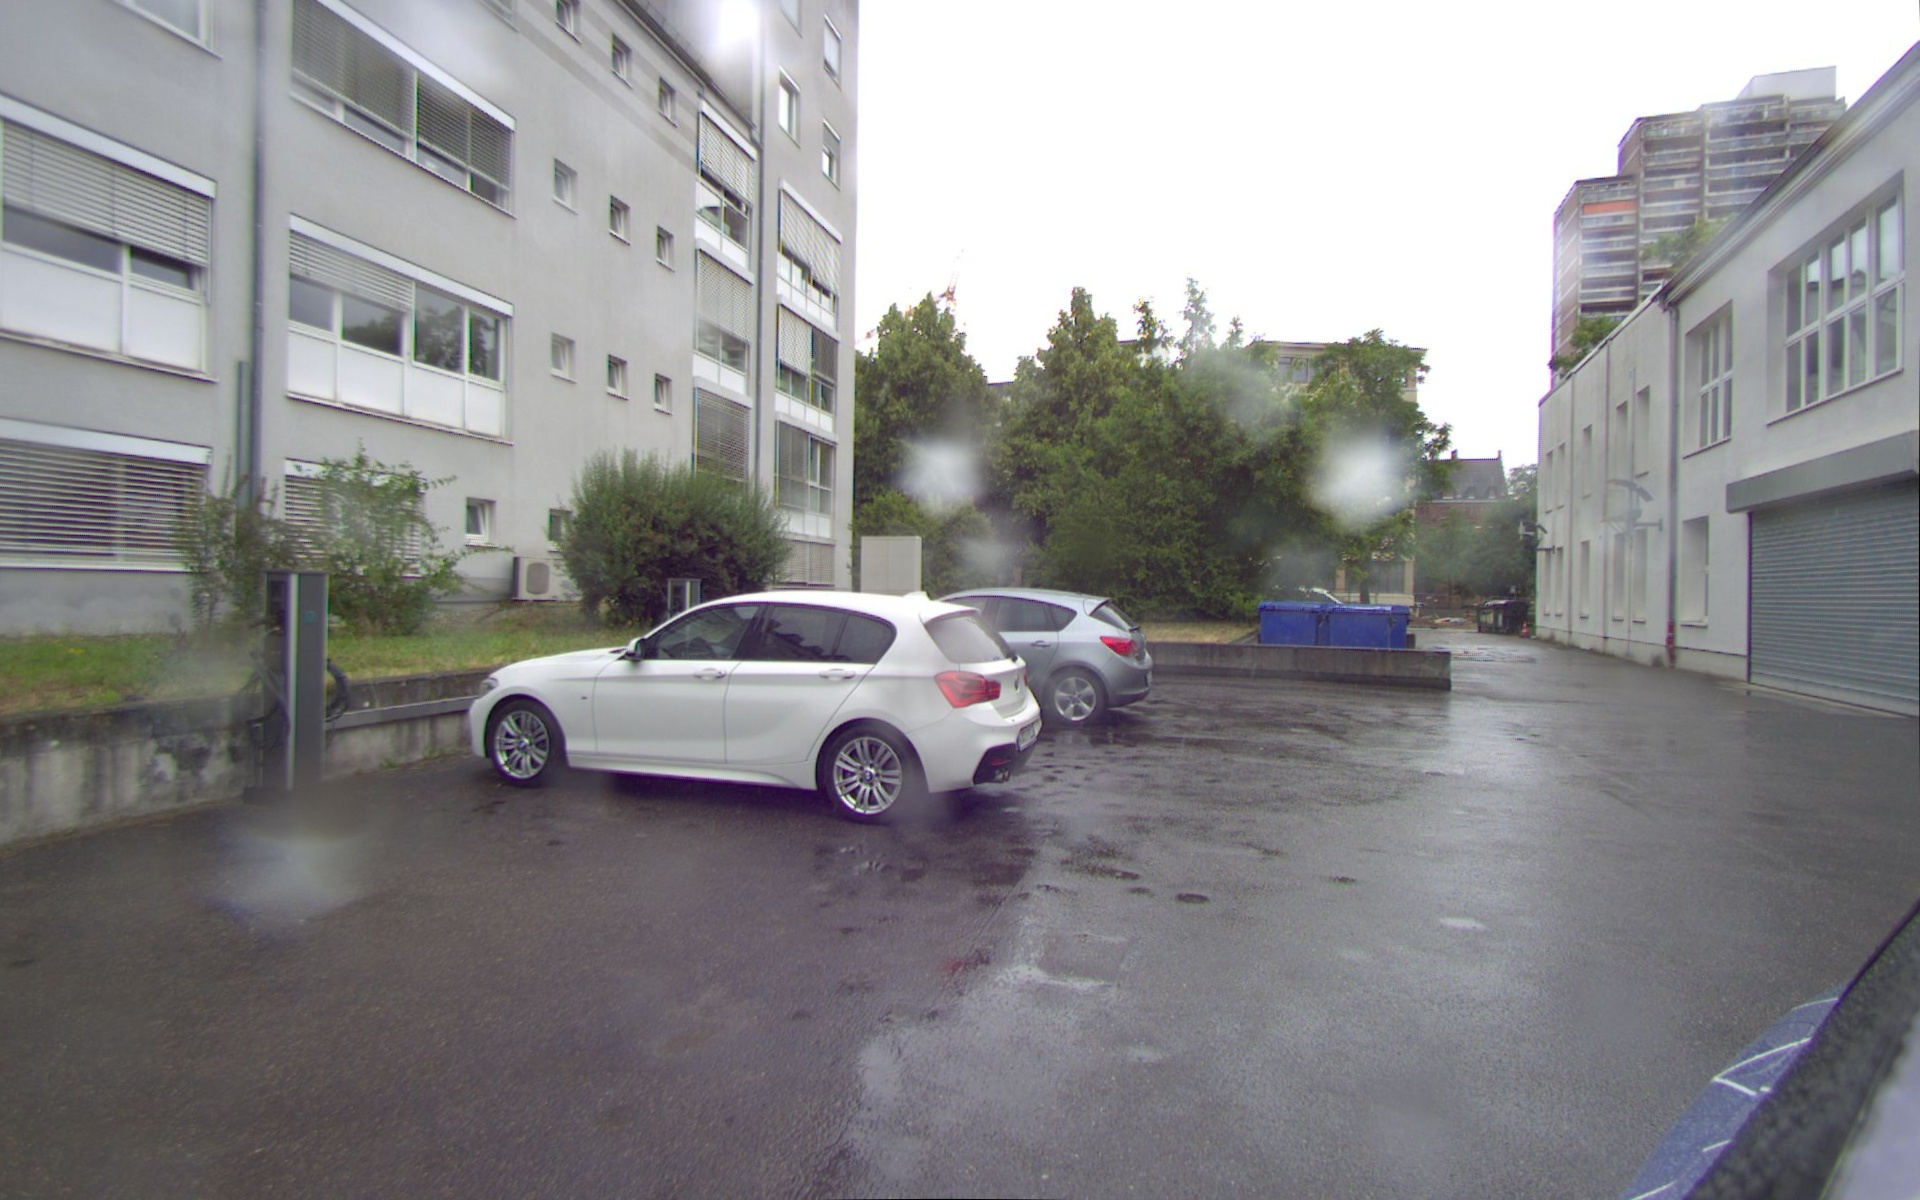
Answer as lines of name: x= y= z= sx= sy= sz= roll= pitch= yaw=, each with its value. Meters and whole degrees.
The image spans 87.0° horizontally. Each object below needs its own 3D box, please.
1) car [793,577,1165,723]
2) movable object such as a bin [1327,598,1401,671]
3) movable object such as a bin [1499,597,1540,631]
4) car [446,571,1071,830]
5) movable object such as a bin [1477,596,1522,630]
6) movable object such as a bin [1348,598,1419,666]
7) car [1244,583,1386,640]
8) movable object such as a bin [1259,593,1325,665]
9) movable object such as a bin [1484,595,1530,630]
car: x=0.288 y=0.525 z=12.359 sx=4.164 sy=1.508 sz=1.989 roll=1 pitch=0 yaw=18
movable object such as a bin: x=7.986 y=0.676 z=20.110 sx=1.297 sy=1.375 sz=1.892 roll=0 pitch=-2 yaw=20
movable object such as a bin: x=23.150 y=0.585 z=41.906 sx=1.171 sy=1.392 sz=1.307 roll=0 pitch=-2 yaw=16
car: x=-1.411 y=0.583 z=7.594 sx=4.164 sy=1.508 sz=1.989 roll=1 pitch=0 yaw=18
movable object such as a bin: x=23.838 y=0.568 z=44.728 sx=1.471 sy=1.467 sz=1.307 roll=0 pitch=-2 yaw=16
movable object such as a bin: x=9.061 y=0.687 z=21.732 sx=1.297 sy=1.375 sz=1.892 roll=0 pitch=-2 yaw=20
car: x=12.659 y=0.429 z=36.151 sx=4.644 sy=1.906 sz=2.106 roll=0 pitch=-3 yaw=23
movable object such as a bin: x=6.769 y=0.589 z=20.583 sx=1.218 sy=1.375 sz=1.957 roll=0 pitch=-2 yaw=20
movable object such as a bin: x=23.468 y=0.559 z=43.438 sx=1.471 sy=1.467 sz=1.307 roll=0 pitch=-2 yaw=16
